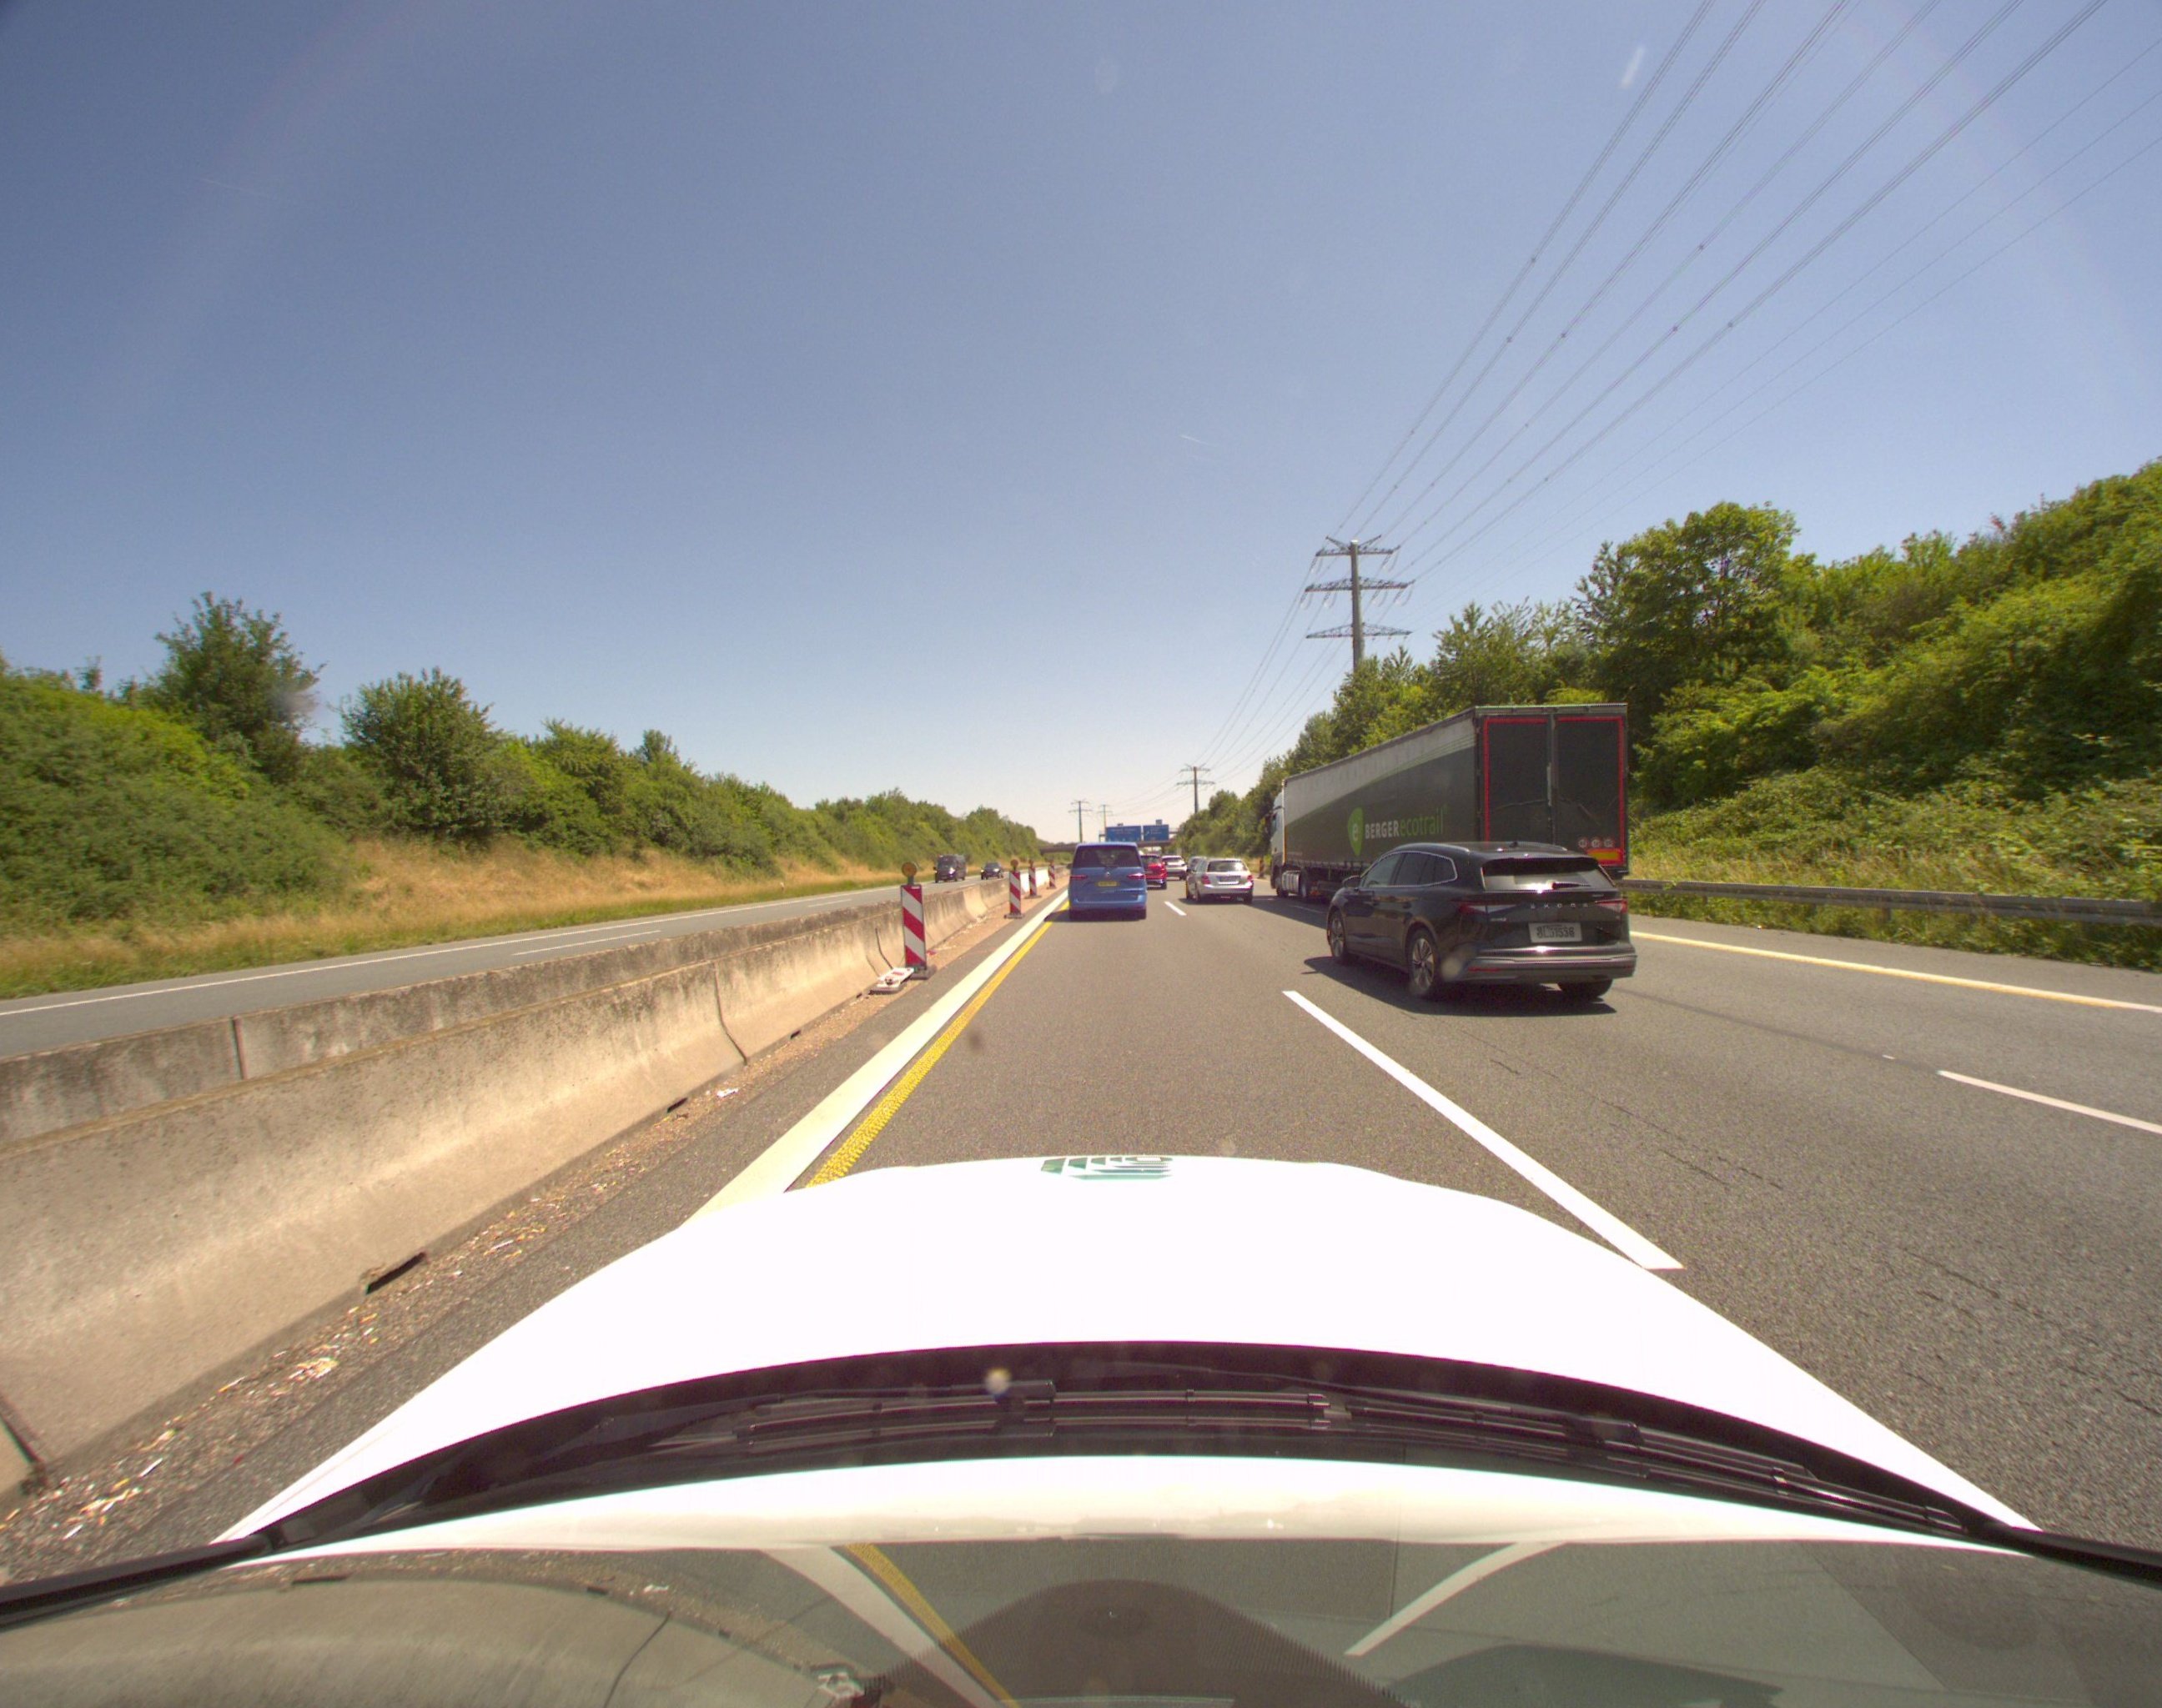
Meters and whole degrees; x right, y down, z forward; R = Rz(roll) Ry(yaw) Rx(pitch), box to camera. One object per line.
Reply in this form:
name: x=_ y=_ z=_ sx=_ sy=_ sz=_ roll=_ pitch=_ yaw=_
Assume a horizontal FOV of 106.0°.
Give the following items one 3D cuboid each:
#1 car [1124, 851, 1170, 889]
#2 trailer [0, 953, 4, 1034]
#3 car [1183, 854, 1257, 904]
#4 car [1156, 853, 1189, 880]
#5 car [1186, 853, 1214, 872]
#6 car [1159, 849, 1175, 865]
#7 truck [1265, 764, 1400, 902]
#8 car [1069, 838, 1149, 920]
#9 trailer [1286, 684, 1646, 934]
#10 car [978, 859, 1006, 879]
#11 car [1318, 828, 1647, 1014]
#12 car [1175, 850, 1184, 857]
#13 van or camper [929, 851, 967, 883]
car: x=3.030 y=0.723 z=38.175 sx=1.868 sy=1.671 sz=4.360 roll=0 pitch=-1 yaw=1
trailer: x=-14.506 y=1.542 z=8.425 sx=1.563 sy=1.552 sz=3.780 roll=-4 pitch=0 yaw=2
car: x=4.479 y=0.767 z=26.862 sx=1.764 sy=1.517 sz=4.360 roll=0 pitch=0 yaw=1
car: x=5.742 y=0.764 z=51.525 sx=1.791 sy=1.594 sz=4.228 roll=0 pitch=0 yaw=2
car: x=9.272 y=0.685 z=63.616 sx=1.694 sy=1.448 sz=3.789 roll=0 pitch=-1 yaw=2
car: x=11.163 y=0.400 z=106.284 sx=1.791 sy=2.014 sz=4.228 roll=0 pitch=-1 yaw=1
truck: x=8.048 y=-0.589 z=26.859 sx=2.724 sy=4.047 sz=5.793 roll=0 pitch=-1 yaw=1
car: x=0.685 y=0.597 z=21.066 sx=1.868 sy=1.912 sz=4.360 roll=0 pitch=-1 yaw=1
trailer: x=7.885 y=-0.682 z=19.761 sx=2.773 sy=4.047 sz=13.114 roll=0 pitch=0 yaw=1
car: x=-8.501 y=1.421 z=78.051 sx=1.986 sy=1.684 sz=4.154 roll=-4 pitch=0 yaw=1
car: x=4.237 y=0.614 z=9.501 sx=1.695 sy=1.655 sz=4.430 roll=0 pitch=0 yaw=1
car: x=24.225 y=-0.029 z=200.226 sx=1.868 sy=1.671 sz=4.360 roll=0 pitch=-1 yaw=1
van or camper: x=-12.591 y=1.228 z=77.819 sx=2.215 sy=2.710 sz=7.081 roll=-4 pitch=-1 yaw=1
